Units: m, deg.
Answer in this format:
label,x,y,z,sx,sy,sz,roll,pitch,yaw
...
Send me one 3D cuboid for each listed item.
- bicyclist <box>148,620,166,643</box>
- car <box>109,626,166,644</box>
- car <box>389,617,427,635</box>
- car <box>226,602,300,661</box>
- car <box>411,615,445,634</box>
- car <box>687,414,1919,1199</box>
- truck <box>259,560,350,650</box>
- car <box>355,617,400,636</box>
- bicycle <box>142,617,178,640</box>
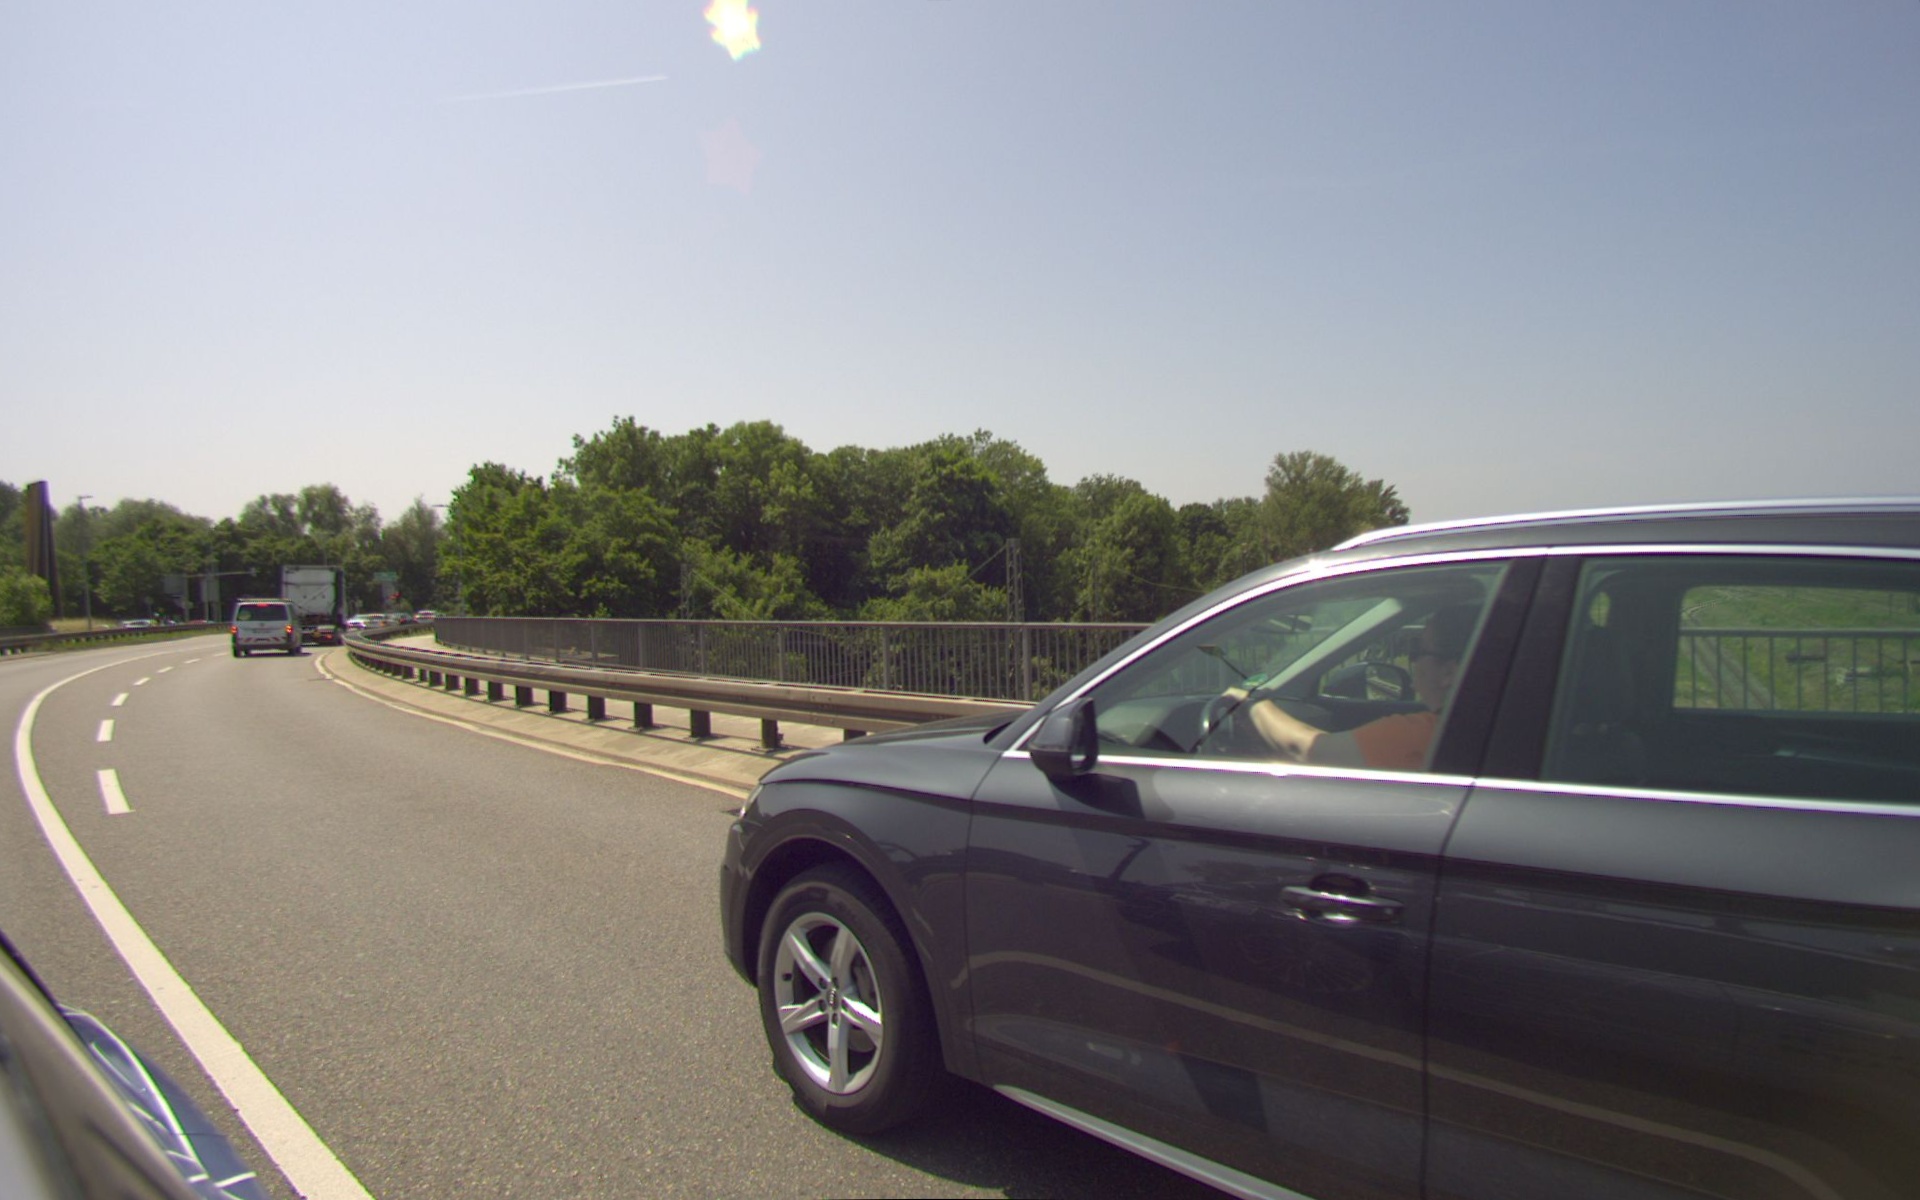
label,x,y,z,sx,sy,sz,roll,pitch,yaw
bicyclist,-57.244,2.216,72.161,0.684,1.611,0.668,-2,-1,11
car,-79.537,3.368,97.851,4.245,1.517,1.864,-2,0,7
car,-46.996,2.176,86.254,1.803,1.417,4.559,-1,-1,-14
car,-25.354,1.125,36.965,1.835,2.015,4.828,0,-1,-30
car,-48.687,2.251,92.668,1.802,1.651,4.591,0,-1,-16
car,1.351,0.609,2.375,4.231,1.648,1.822,-2,-2,41
truck,-31.138,0.306,48.334,2.667,4.022,6.206,0,-2,-24
car,-45.855,2.043,79.758,1.803,1.417,4.901,0,-1,-14
bicycle,-57.014,2.022,72.116,2.349,1.586,0.654,-2,-1,11
